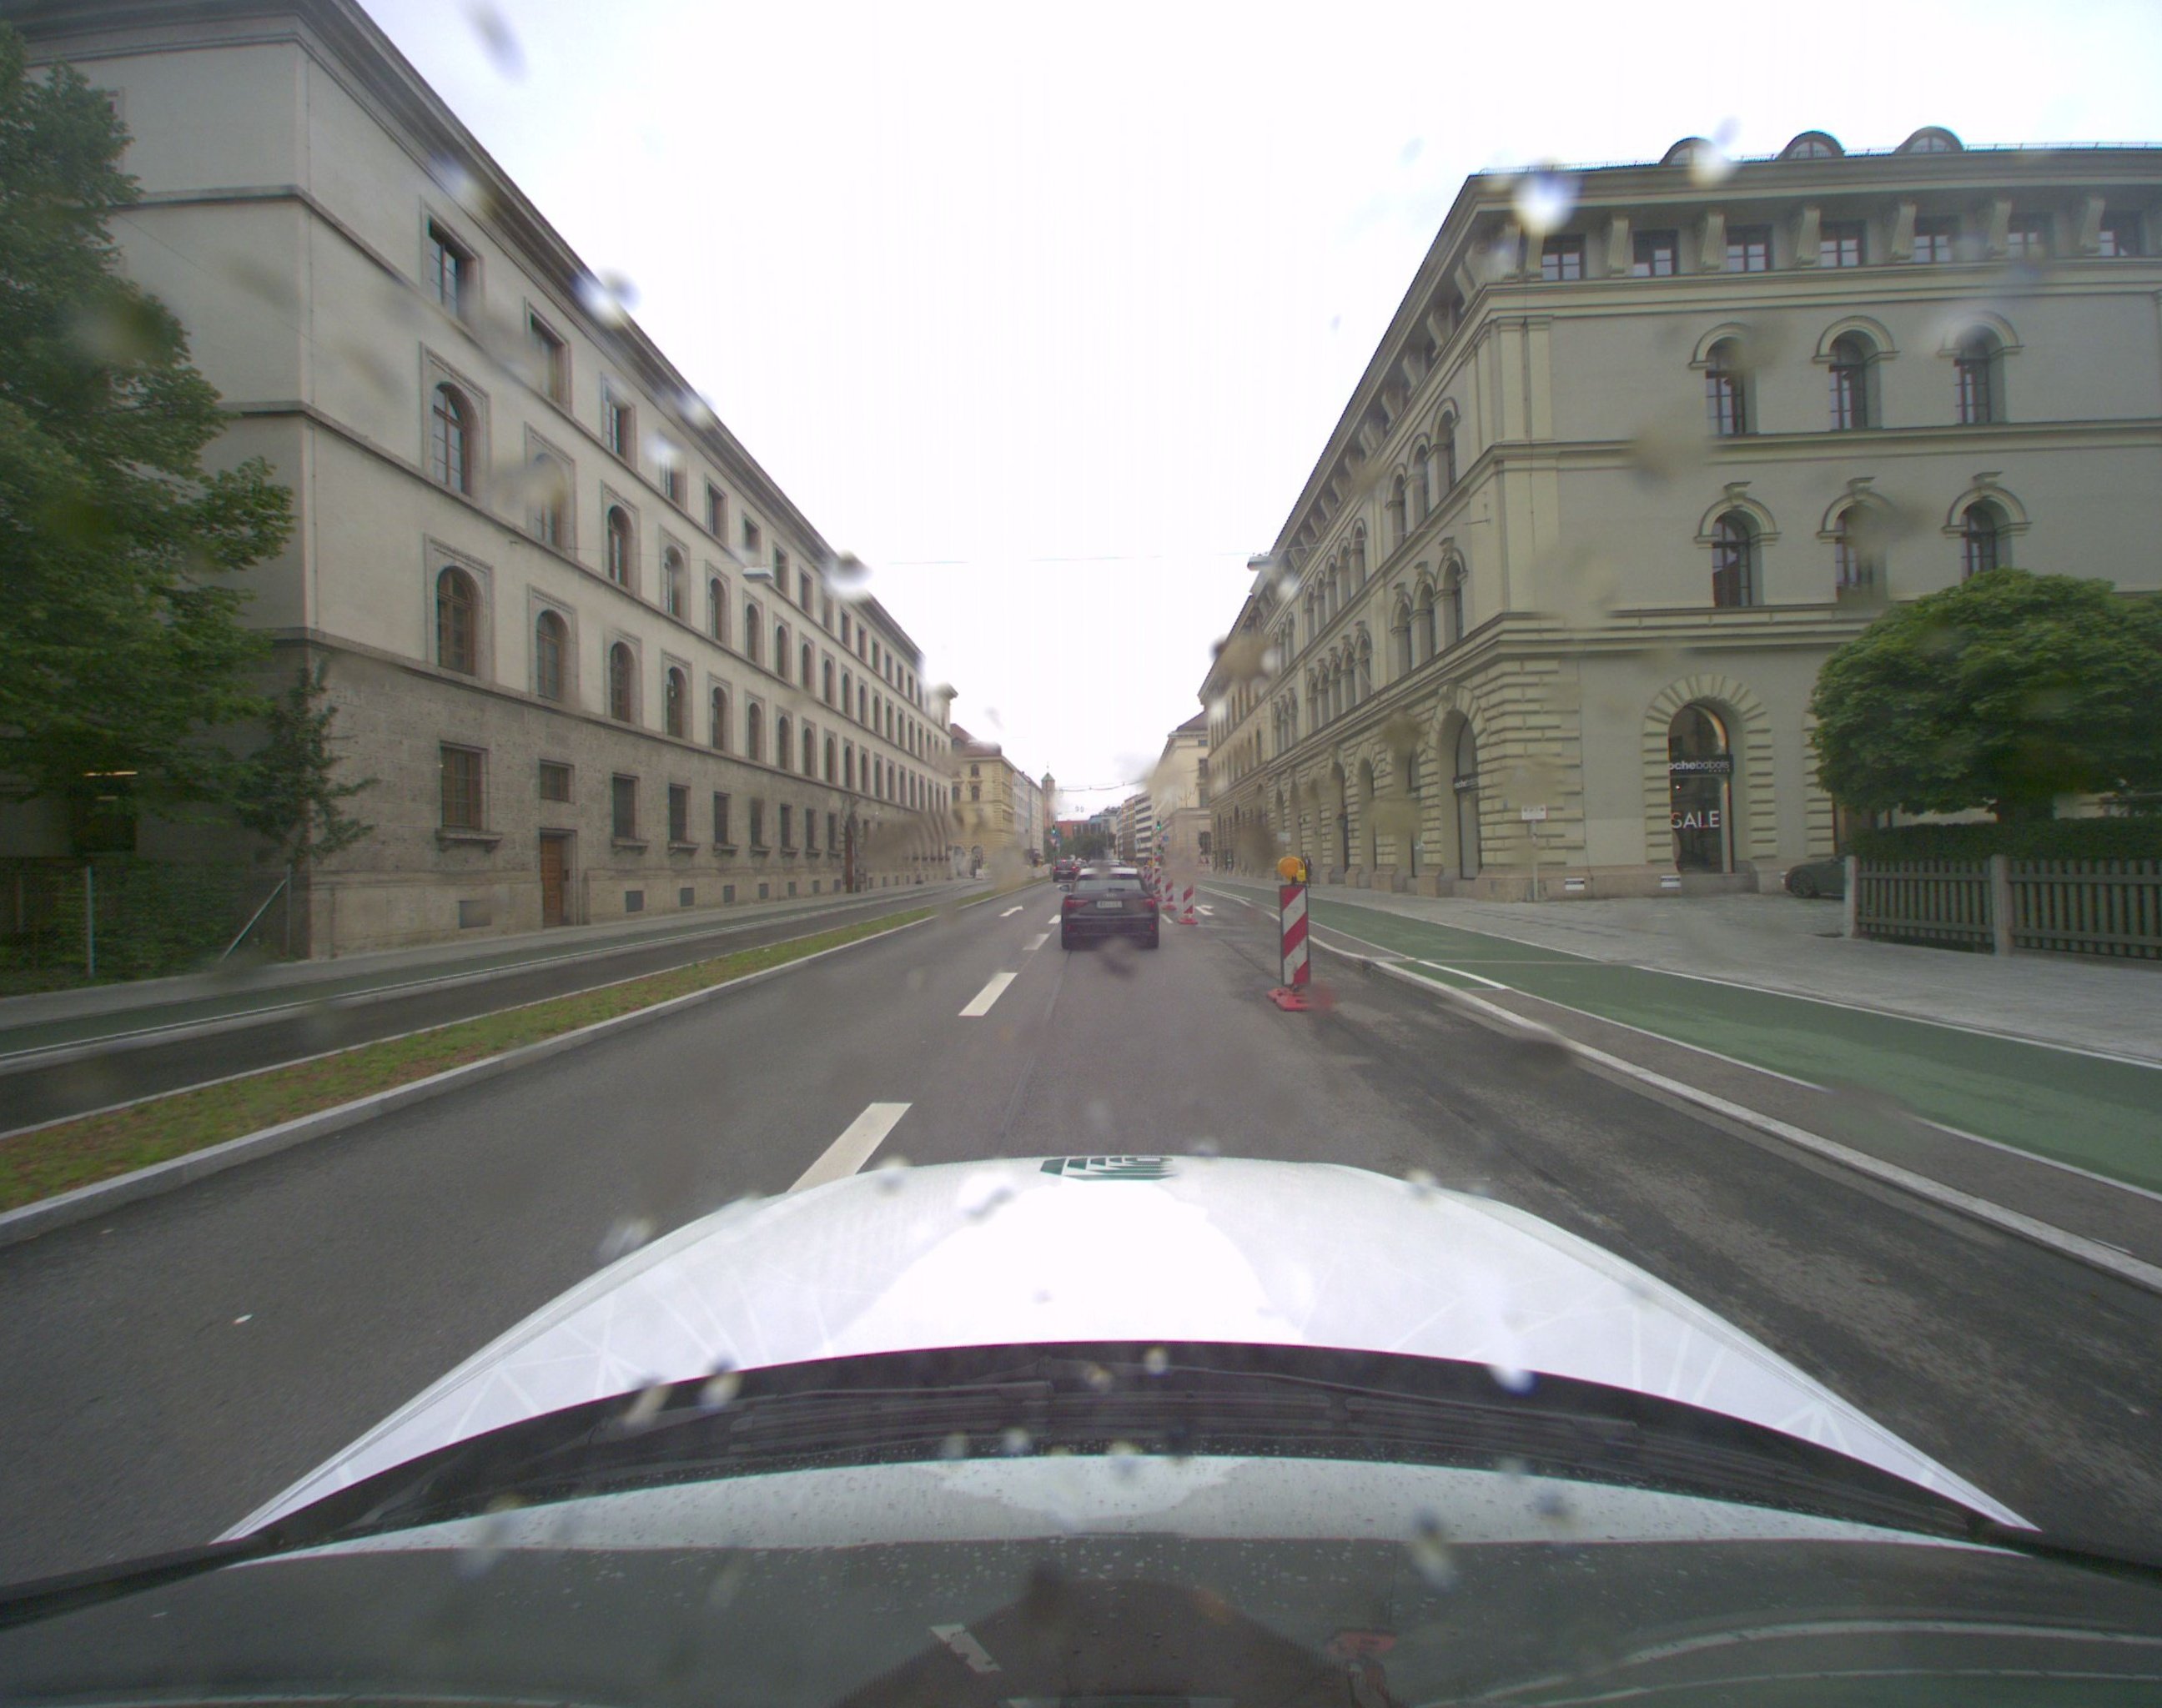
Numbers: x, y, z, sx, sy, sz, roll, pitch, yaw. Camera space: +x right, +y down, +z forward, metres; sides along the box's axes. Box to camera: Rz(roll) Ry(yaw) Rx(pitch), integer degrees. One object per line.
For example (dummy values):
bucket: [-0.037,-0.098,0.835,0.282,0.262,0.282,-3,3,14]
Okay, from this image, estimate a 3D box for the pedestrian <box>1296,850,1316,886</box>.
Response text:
pedestrian: [10.771,0.670,38.964,0.630,1.704,1.086,-2,-1,1]

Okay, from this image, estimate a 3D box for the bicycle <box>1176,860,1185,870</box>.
bicycle: [9.559,1.045,78.302,0.584,1.011,1.654,0,-1,-4]

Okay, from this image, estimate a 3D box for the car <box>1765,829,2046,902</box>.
car: [18.674,0.250,18.840,1.851,1.426,4.631,-1,-1,1]

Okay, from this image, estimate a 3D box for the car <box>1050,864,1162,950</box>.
car: [0.478,0.914,15.639,1.856,1.388,4.001,-1,0,2]

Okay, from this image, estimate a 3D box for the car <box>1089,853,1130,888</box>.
car: [1.341,0.789,39.831,1.764,1.617,3.997,0,-1,-1]

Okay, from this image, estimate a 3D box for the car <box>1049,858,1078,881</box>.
car: [-1.273,1.166,60.570,1.858,1.601,3.852,-2,-1,1]

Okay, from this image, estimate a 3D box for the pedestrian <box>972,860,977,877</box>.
pedestrian: [-11.271,1.546,86.205,0.512,1.743,1.040,-1,-1,-8]

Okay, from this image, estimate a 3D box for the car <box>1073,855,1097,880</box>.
car: [0.383,1.152,70.969,1.986,2.014,4.001,-1,-1,1]

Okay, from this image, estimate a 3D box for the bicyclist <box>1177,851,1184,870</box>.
bicyclist: [9.559,0.622,78.286,0.565,1.854,0.798,0,-1,-5]

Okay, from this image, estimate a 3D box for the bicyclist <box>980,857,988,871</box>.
bicyclist: [-12.241,1.218,102.972,0.794,1.749,0.690,0,-1,5]

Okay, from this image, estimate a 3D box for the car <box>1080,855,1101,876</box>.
car: [1.028,1.204,82.895,1.986,2.014,4.002,-2,-1,2]

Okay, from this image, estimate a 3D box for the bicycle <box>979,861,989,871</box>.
bicycle: [-12.248,1.484,102.866,0.783,1.242,2.453,0,-1,6]
